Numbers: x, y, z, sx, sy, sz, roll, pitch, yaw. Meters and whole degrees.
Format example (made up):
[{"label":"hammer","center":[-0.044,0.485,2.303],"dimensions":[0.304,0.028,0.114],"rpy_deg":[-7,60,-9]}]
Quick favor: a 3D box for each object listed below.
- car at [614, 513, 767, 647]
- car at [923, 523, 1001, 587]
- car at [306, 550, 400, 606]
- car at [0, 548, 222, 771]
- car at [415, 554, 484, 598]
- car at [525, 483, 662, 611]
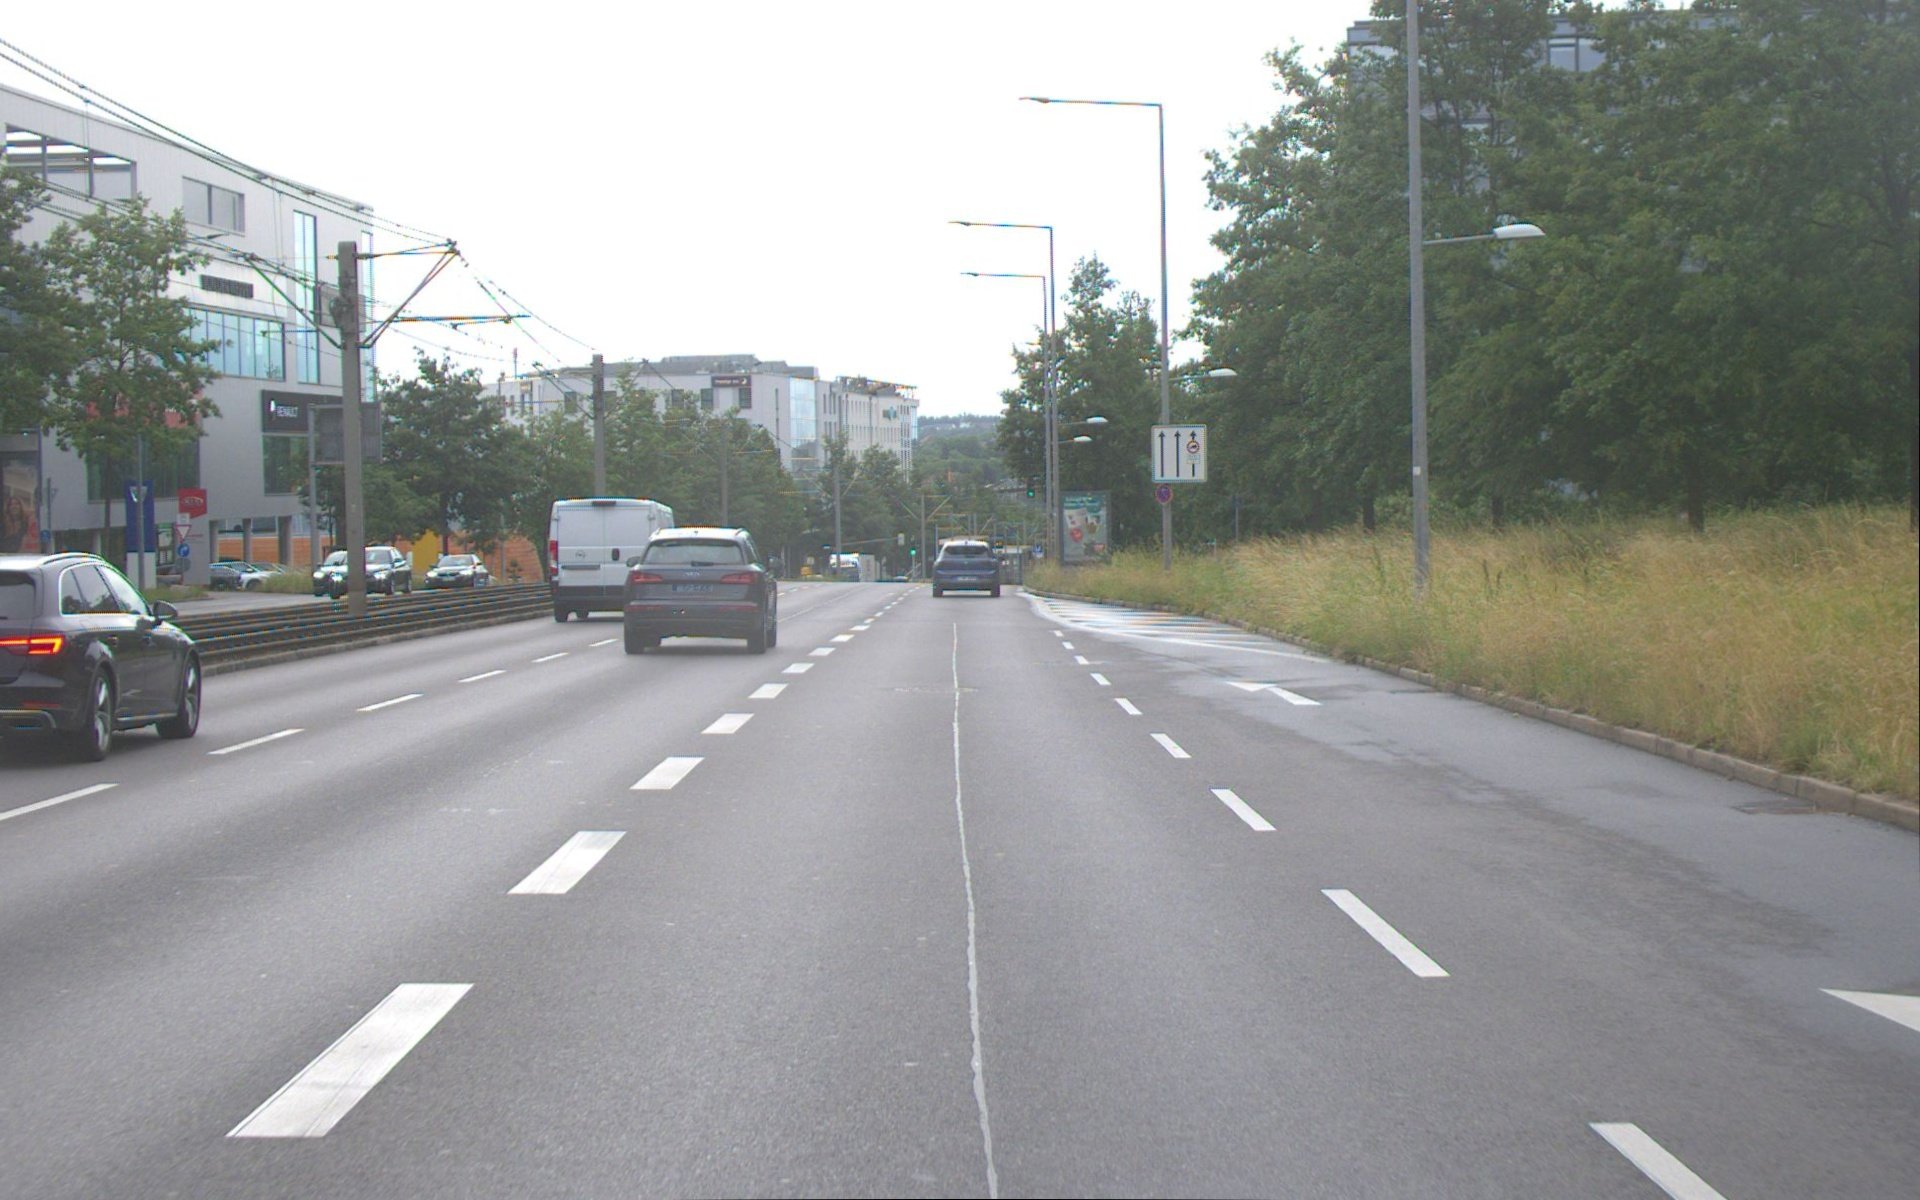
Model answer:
[{"label":"car","center":[-3.562,-0.303,45.998],"dimensions":[1.922,1.704,4.099],"rpy_deg":[1,1,-3]},{"label":"car","center":[0.029,-1.180,90.508],"dimensions":[1.789,1.585,4.001],"rpy_deg":[-2,1,-3]},{"label":"car","center":[-17.074,-0.593,96.869],"dimensions":[1.772,1.497,4.199],"rpy_deg":[0,-1,2]},{"label":"car","center":[-6.633,0.346,24.579],"dimensions":[1.786,1.409,4.806],"rpy_deg":[0,1,-1]},{"label":"car","center":[-19.804,-0.945,133.572],"dimensions":[1.841,1.481,4.654],"rpy_deg":[-4,1,1]},{"label":"car","center":[-6.827,-1.000,64.482],"dimensions":[2.267,2.277,4.760],"rpy_deg":[1,1,-3]}]
